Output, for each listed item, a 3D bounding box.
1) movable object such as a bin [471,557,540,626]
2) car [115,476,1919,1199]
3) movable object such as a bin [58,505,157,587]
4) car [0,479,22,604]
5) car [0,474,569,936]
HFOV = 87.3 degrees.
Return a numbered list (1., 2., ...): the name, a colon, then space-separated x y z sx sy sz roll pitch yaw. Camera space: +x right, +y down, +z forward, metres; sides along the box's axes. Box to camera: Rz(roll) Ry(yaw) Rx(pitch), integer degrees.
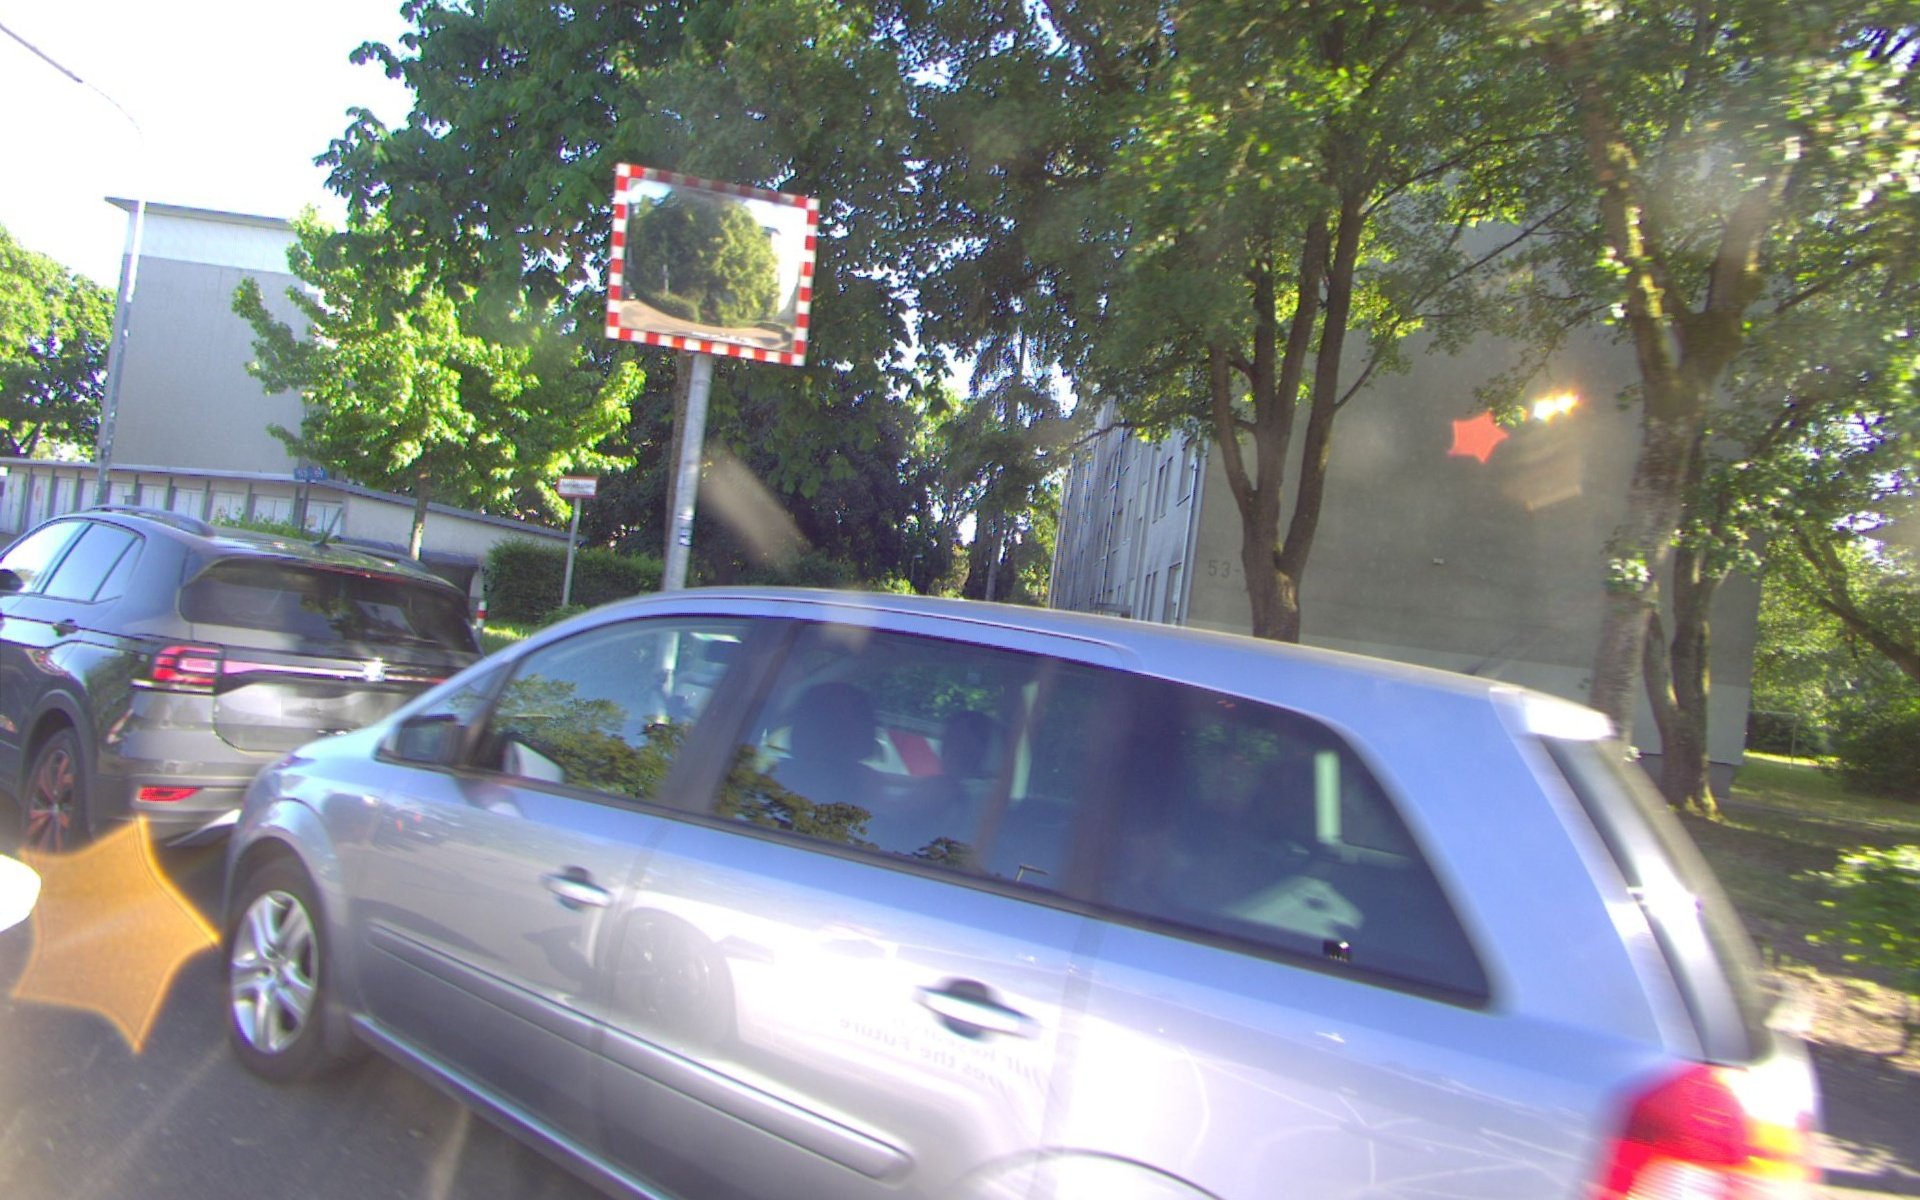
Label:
1. movable object such as a bin: -10.546 -0.193 23.358 0.821 1.433 1.075 5 -2 39
2. car: -0.408 0.689 2.937 4.301 1.627 1.773 6 -4 32
3. movable object such as a bin: -16.238 -1.022 19.162 1.040 1.363 1.247 5 -2 45
4. car: -12.736 -0.756 11.415 4.480 1.810 1.838 8 -3 33
5. car: -4.220 0.321 5.423 3.958 1.611 1.808 7 -3 33
